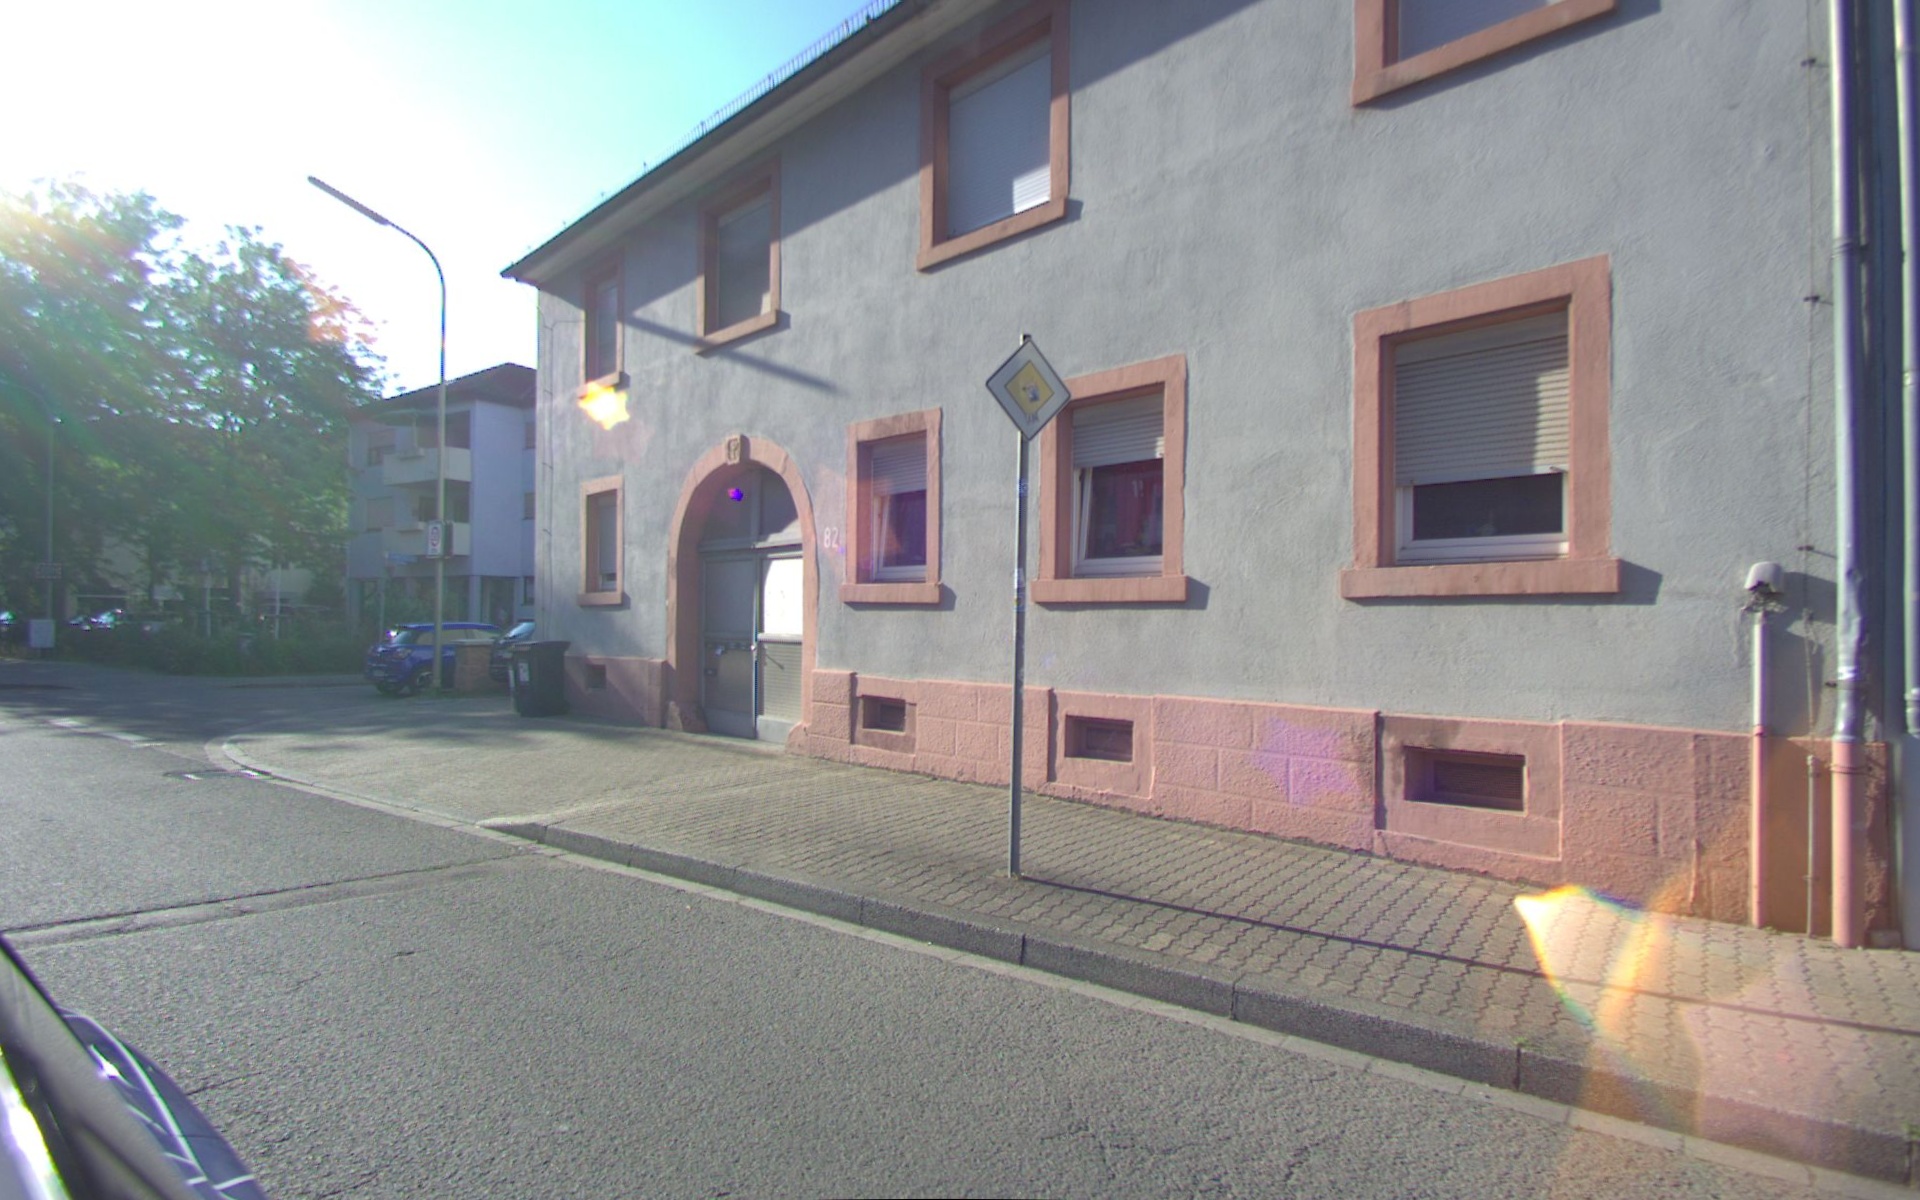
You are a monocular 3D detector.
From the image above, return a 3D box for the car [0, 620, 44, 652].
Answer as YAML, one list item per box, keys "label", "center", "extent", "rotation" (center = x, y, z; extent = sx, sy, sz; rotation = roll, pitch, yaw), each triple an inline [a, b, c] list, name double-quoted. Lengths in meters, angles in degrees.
- label: "car"
  center: [-43.475, 1.622, 46.430]
  extent: [3.633, 1.419, 1.506]
  rotation: [0, -2, 38]

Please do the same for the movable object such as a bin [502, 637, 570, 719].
- label: "movable object such as a bin"
  center: [-6.014, 1.081, 14.354]
  extent: [0.750, 1.102, 0.593]
  rotation: [-1, -1, 38]

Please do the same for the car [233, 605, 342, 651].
- label: "car"
  center: [-29.482, 1.207, 44.378]
  extent: [4.299, 1.963, 2.007]
  rotation: [0, -2, 25]

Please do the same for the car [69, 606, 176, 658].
- label: "car"
  center: [-32.562, 1.216, 39.304]
  extent: [4.891, 1.909, 1.828]
  rotation: [-1, -2, 33]

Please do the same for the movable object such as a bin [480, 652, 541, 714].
- label: "movable object such as a bin"
  center: [-6.677, 1.224, 15.043]
  extent: [0.605, 0.879, 0.593]
  rotation: [-1, -2, 35]

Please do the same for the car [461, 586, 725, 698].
- label: "car"
  center: [-6.919, 0.740, 19.451]
  extent: [1.985, 1.808, 4.322]
  rotation: [-4, -1, 38]

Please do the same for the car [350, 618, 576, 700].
- label: "car"
  center: [-10.269, 1.212, 21.128]
  extent: [1.997, 1.542, 3.732]
  rotation: [-2, -3, 38]
